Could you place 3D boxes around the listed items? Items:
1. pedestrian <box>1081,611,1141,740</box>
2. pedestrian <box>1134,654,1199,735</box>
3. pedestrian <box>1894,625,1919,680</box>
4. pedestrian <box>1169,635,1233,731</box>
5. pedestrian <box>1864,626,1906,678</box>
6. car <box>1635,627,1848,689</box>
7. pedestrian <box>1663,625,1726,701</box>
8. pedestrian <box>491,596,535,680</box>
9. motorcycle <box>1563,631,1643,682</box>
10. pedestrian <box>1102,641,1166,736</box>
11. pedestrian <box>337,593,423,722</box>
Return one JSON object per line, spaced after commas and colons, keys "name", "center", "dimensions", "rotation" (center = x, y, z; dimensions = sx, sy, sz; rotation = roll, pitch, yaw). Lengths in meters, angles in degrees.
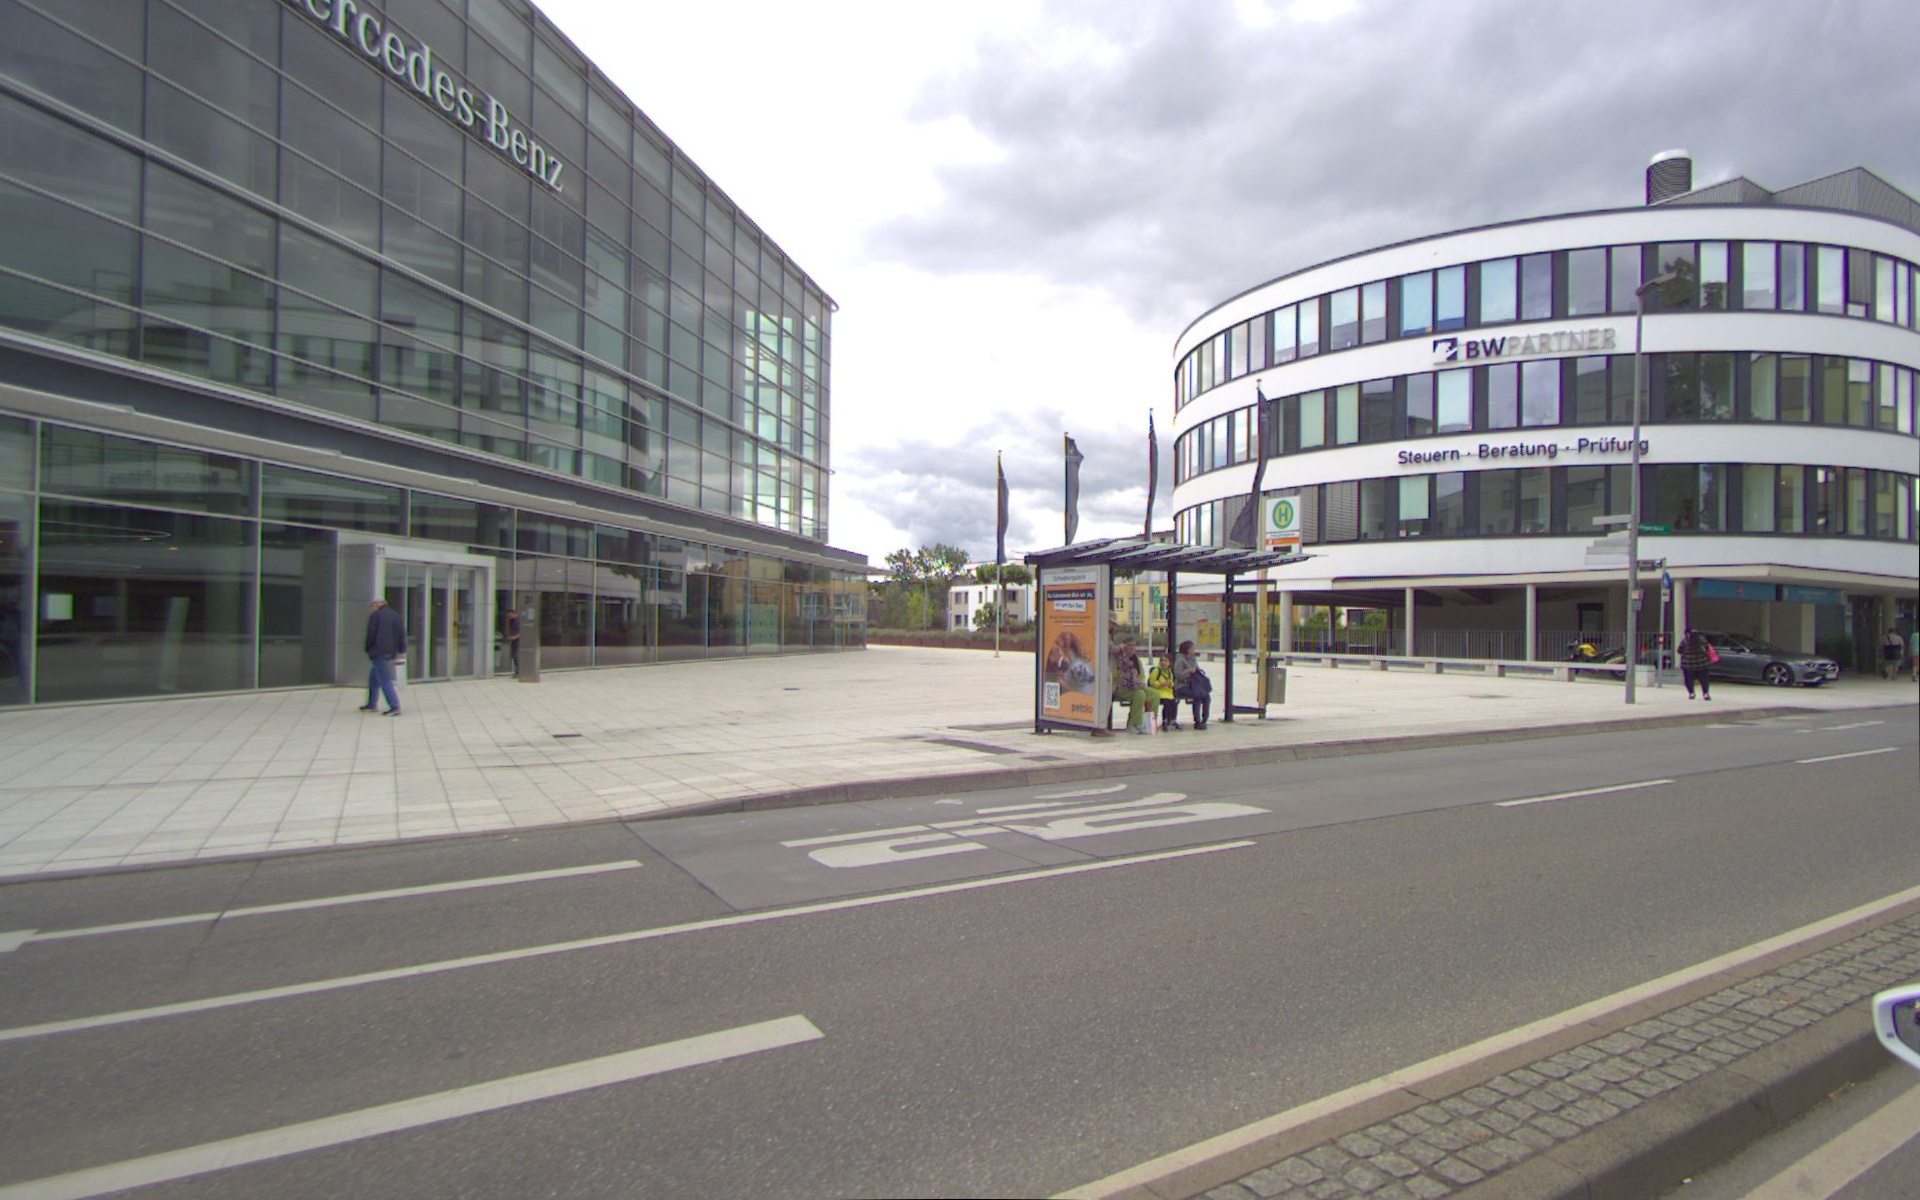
{"name": "pedestrian", "center": [1.999, 0.982, 13.264], "dimensions": [0.673, 1.652, 0.576], "rotation": [-1, -2, 19]}
{"name": "pedestrian", "center": [2.898, 1.312, 14.140], "dimensions": [0.570, 1.089, 0.681], "rotation": [1, -3, -32]}
{"name": "pedestrian", "center": [29.803, 1.627, 31.317], "dimensions": [0.920, 1.696, 0.727], "rotation": [1, 0, -29]}
{"name": "pedestrian", "center": [3.466, 1.178, 14.486], "dimensions": [0.570, 1.337, 0.681], "rotation": [1, -3, -32]}
{"name": "pedestrian", "center": [30.006, 1.669, 32.576], "dimensions": [0.920, 1.635, 0.727], "rotation": [1, 0, -29]}
{"name": "car", "center": [22.245, 1.603, 28.805], "dimensions": [1.877, 1.434, 4.442], "rotation": [1, 0, -25]}
{"name": "pedestrian", "center": [16.110, 1.369, 22.043], "dimensions": [0.802, 1.588, 0.827], "rotation": [1, 0, -25]}
{"name": "pedestrian", "center": [-10.753, 0.898, 24.174], "dimensions": [0.745, 1.971, 0.678], "rotation": [1, 0, -43]}
{"name": "motorcycle", "center": [18.306, 1.589, 28.641], "dimensions": [0.627, 1.351, 1.848], "rotation": [1, 0, -26]}
{"name": "pedestrian", "center": [2.394, 1.195, 13.823], "dimensions": [0.570, 1.270, 0.681], "rotation": [1, -2, -32]}
{"name": "pedestrian", "center": [-9.190, 0.887, 15.930], "dimensions": [0.885, 1.971, 0.750], "rotation": [1, 0, 21]}
